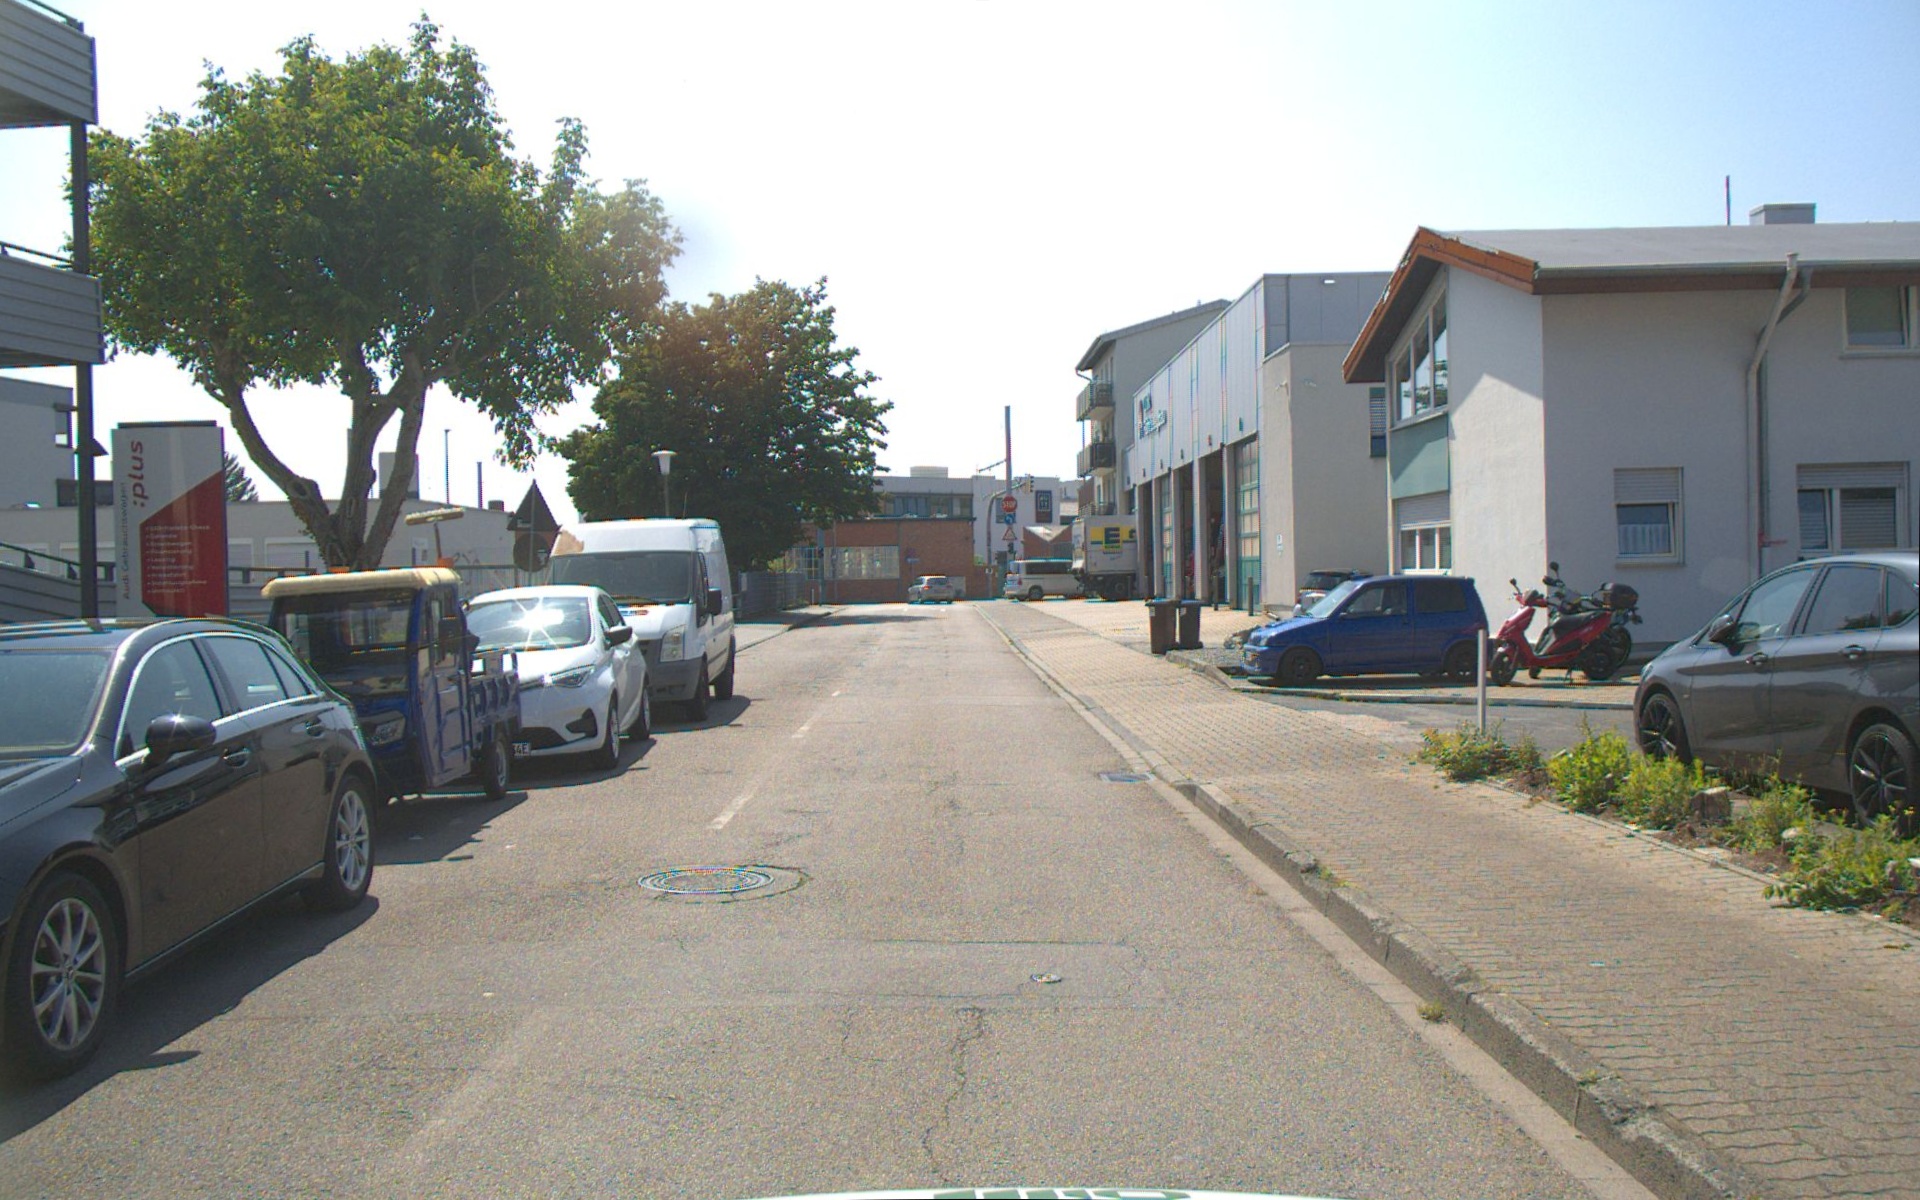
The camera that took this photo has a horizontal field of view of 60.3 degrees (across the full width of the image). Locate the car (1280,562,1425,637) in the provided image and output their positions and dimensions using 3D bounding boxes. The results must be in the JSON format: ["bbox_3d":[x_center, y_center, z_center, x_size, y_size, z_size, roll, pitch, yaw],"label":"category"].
[{"bbox_3d":[9.066,-0.028,38.049,1.746,1.566,3.683,-1,1,40],"label":"car"}]

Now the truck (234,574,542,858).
[{"bbox_3d":[-3.844,0.680,11.543,1.116,1.650,3.139,-3,1,-3],"label":"truck"}]

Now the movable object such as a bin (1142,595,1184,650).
[{"bbox_3d":[3.660,0.411,29.805,0.557,0.962,0.556,-1,1,32],"label":"movable object such as a bin"}]

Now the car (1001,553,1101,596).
[{"bbox_3d":[4.492,-1.268,81.823,4.585,1.992,1.905,-2,1,-20],"label":"car"}]

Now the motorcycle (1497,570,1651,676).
[{"bbox_3d":[8.163,0.290,22.006,1.717,1.301,0.795,-3,1,-10],"label":"motorcycle"}]

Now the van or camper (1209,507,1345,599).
[{"bbox_3d":[11.996,-1.767,62.794,4.662,3.345,1.998,-1,1,-5],"label":"van or camper"}]

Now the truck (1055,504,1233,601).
[{"bbox_3d":[8.137,-2.088,73.478,7.220,3.708,2.764,-4,1,-7],"label":"truck"}]

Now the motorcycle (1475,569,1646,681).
[{"bbox_3d":[7.592,0.306,20.963,1.832,1.301,0.796,-3,0,-4],"label":"motorcycle"}]

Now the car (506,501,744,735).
[{"bbox_3d":[-3.928,0.159,20.326,1.965,2.407,5.227,-3,1,-3],"label":"car"}]

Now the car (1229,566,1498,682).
[{"bbox_3d":[5.355,0.303,22.237,3.186,1.423,1.673,-1,1,-1],"label":"car"}]

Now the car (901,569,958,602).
[{"bbox_3d":[-1.642,-0.775,88.561,1.863,1.714,3.934,-1,1,-20],"label":"car"}]

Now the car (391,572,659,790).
[{"bbox_3d":[-3.819,0.632,15.153,1.671,1.652,3.969,-3,0,-5],"label":"car"}]

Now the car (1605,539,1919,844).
[{"bbox_3d":[5.826,0.432,10.363,1.775,1.585,4.291,-1,1,-2],"label":"car"}]

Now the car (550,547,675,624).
[{"bbox_3d":[-12.148,-0.514,58.057,4.004,2.557,1.776,-1,1,-3],"label":"car"}]

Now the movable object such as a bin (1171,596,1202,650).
[{"bbox_3d":[4.138,0.422,30.225,0.502,0.962,0.488,-2,1,10],"label":"movable object such as a bin"}]

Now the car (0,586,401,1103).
[{"bbox_3d":[-3.669,0.730,6.360,1.670,1.488,4.113,-3,0,-2],"label":"car"}]
